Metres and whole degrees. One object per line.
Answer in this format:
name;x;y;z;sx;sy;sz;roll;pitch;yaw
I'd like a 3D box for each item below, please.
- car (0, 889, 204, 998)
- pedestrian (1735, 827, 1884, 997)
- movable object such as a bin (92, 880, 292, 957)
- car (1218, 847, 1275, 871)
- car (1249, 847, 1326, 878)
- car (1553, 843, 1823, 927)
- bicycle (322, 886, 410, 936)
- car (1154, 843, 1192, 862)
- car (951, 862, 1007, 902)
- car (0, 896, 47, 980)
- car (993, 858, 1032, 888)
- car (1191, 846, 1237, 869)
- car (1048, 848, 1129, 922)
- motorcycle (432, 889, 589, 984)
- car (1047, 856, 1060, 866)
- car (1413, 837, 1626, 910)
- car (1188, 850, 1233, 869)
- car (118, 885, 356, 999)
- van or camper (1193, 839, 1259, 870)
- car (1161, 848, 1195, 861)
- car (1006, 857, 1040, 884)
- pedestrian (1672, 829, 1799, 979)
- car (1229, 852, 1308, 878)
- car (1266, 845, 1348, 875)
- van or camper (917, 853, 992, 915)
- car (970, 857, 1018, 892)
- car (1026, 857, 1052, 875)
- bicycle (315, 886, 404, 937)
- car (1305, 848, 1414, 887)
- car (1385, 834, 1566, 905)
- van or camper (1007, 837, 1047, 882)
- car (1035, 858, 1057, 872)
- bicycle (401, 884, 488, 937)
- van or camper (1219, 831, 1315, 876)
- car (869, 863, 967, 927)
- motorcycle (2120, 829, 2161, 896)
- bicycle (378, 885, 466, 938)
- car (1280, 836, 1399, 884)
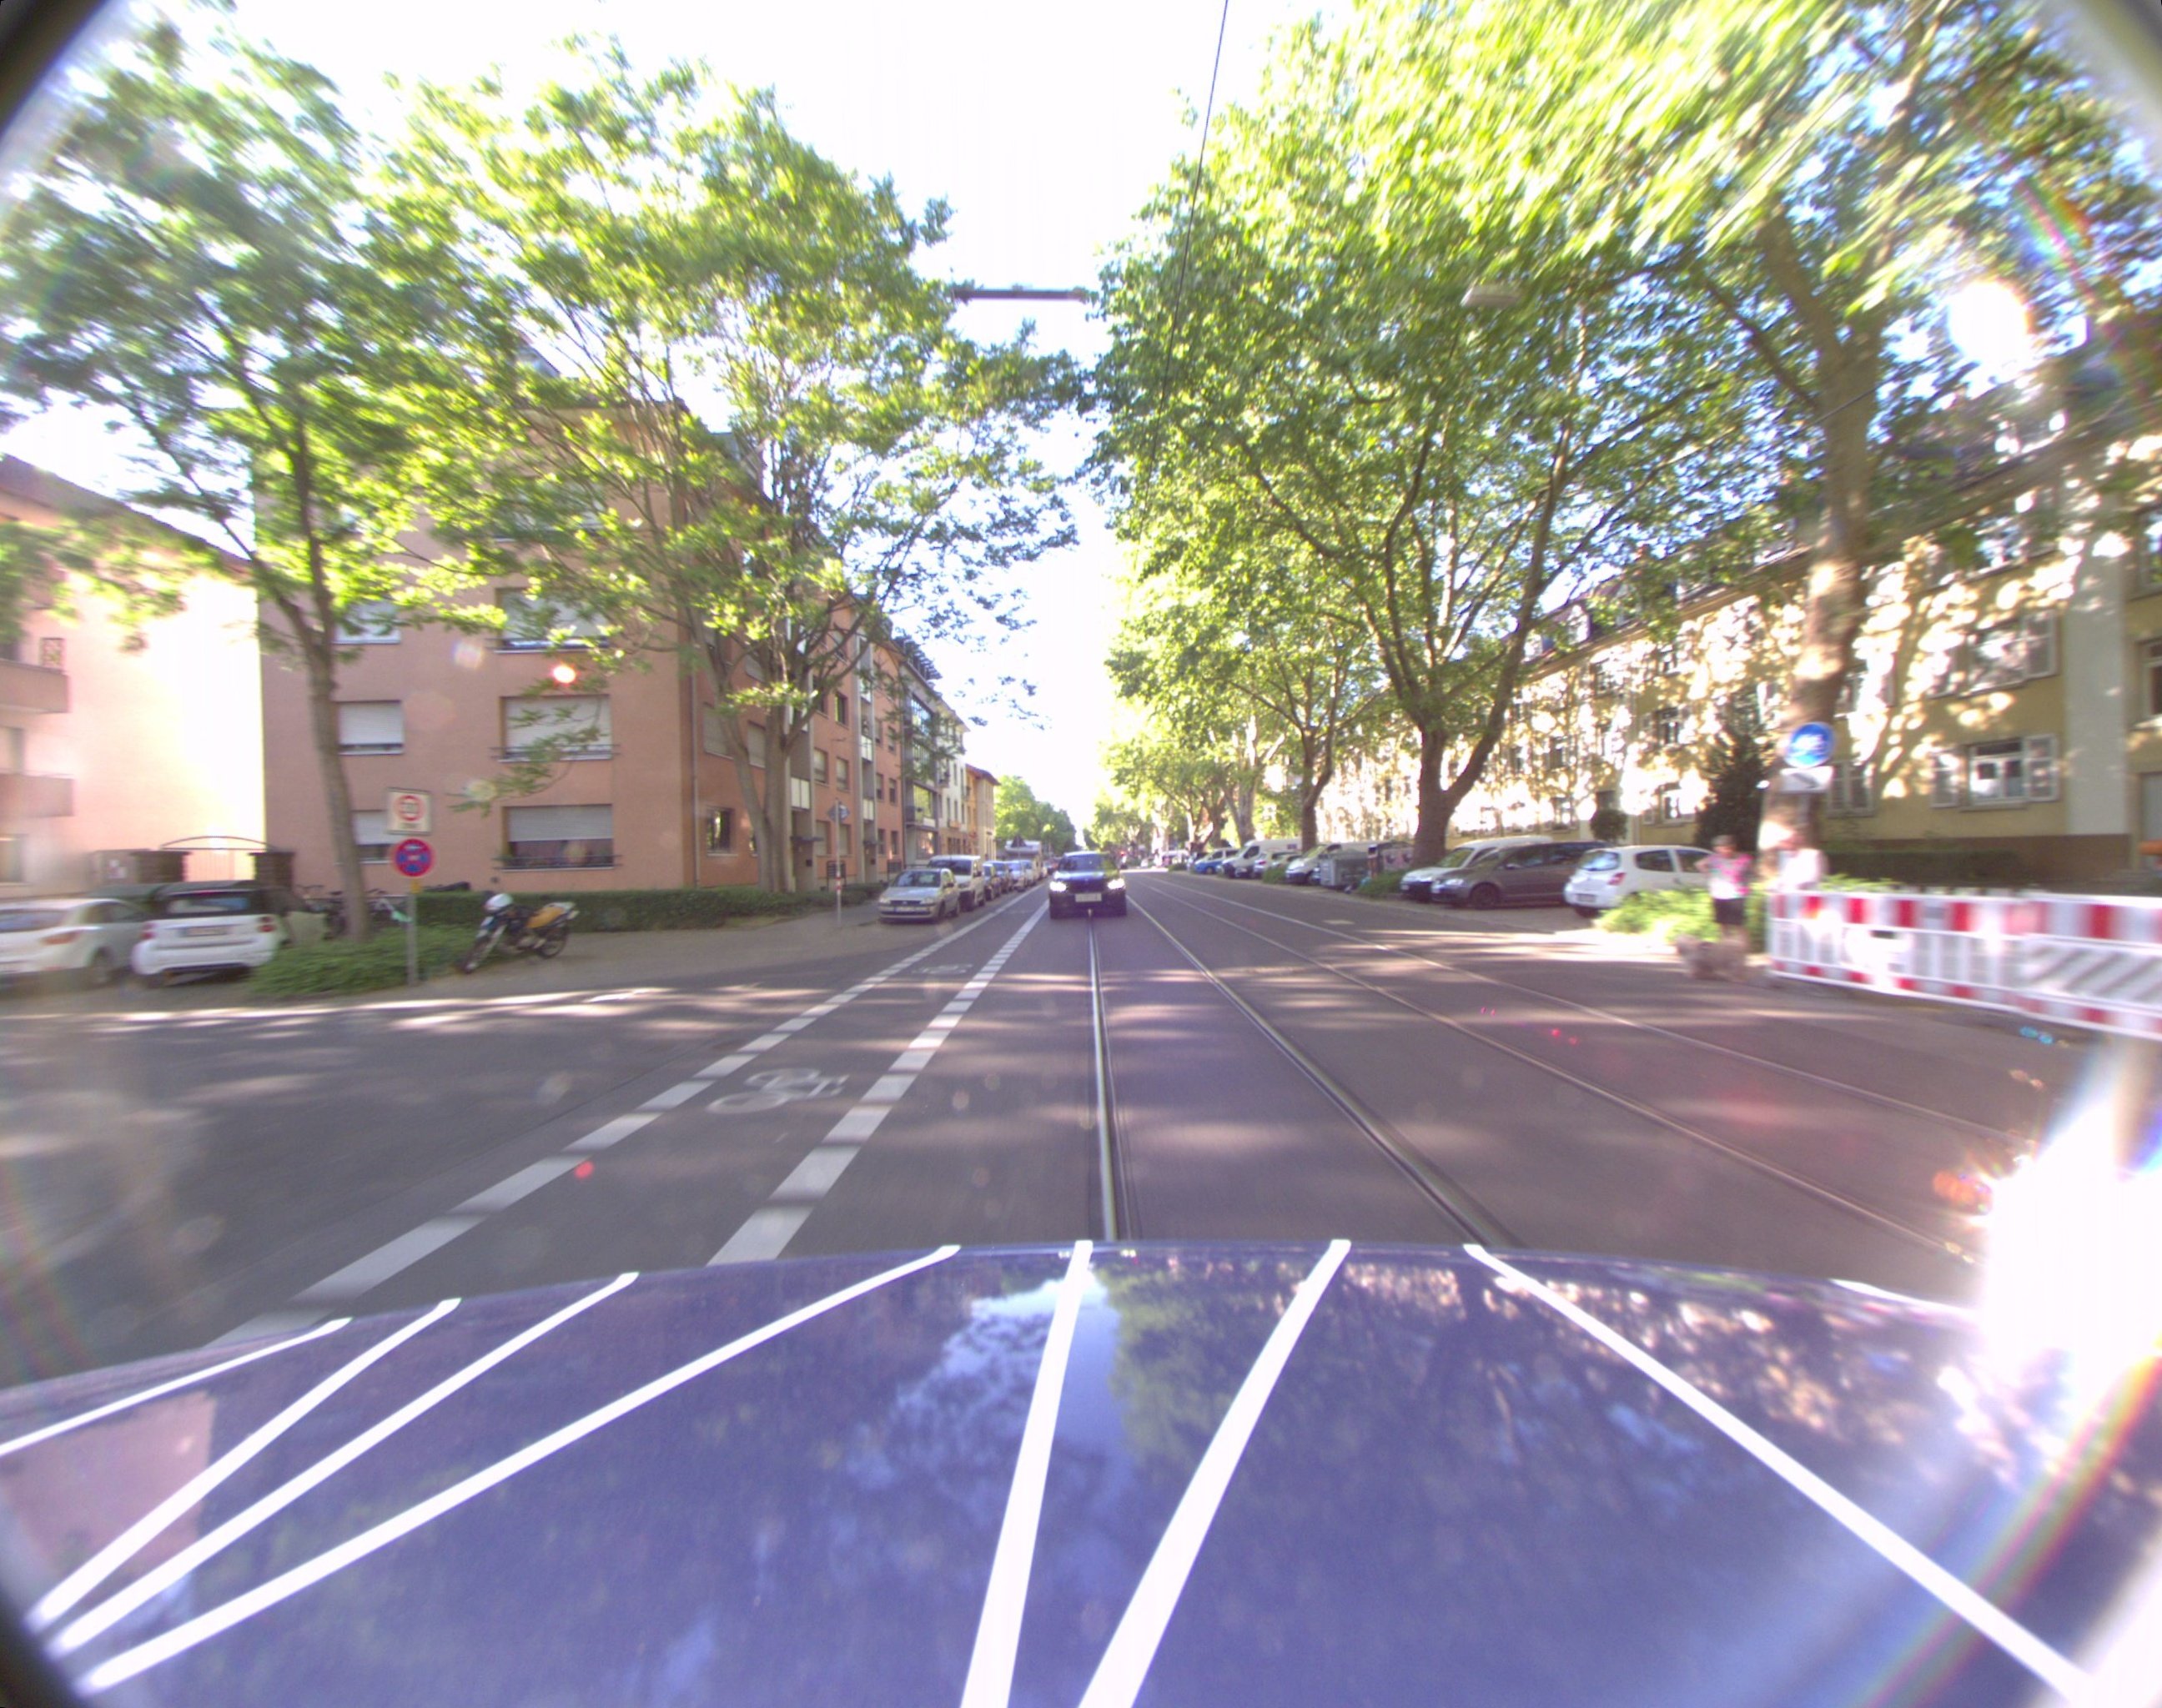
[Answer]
car;-16.906;1.413;12.729;1.730;1.452;3.936;-2;1;-32
pedestrian;7.947;0.600;8.325;0.824;1.735;0.796;-3;1;1
movable object such as a bin;-19.192;1.372;16.483;2.547;1.411;1.377;-2;2;-2
car;11.837;0.368;54.555;3.691;1.556;1.613;-3;1;2
car;11.740;0.469;43.324;3.857;1.653;1.862;-1;0;1
car;11.925;0.579;15.129;3.857;1.489;1.862;-1;0;1
bicycle;-18.383;1.453;19.537;1.774;1.158;0.450;-3;1;1
car;12.882;-0.174;106.437;5.019;2.383;2.028;-3;0;-1
car;-4.193;1.103;31.871;1.710;1.464;4.168;-1;0;0
car;-19.767;1.547;12.607;1.669;1.452;3.936;-2;1;-32
car;-3.733;1.023;41.875;1.793;1.513;4.321;0;0;-1
car;11.706;0.302;67.108;3.691;1.804;1.704;-3;1;0
car;0.209;0.755;21.097;1.924;1.741;4.806;-3;0;0
motorcycle;-9.435;1.316;12.727;0.679;1.290;2.258;-2;1;7
car;-3.739;0.941;103.408;1.607;1.372;3.864;0;0;0
car;10.940;0.474;19.262;4.242;1.678;1.934;-1;0;8
car;11.818;0.489;69.460;3.692;1.615;1.799;-3;0;-4
car;-14.706;1.410;13.547;1.730;1.531;3.990;-2;1;-32
van or camper;11.557;0.046;60.711;4.832;2.177;2.119;-3;1;0
car;12.660;0.122;99.221;4.170;1.506;1.925;-3;0;-1
car;-3.568;0.983;47.523;1.797;1.619;4.276;0;0;0
pedestrian;8.008;0.584;9.338;0.824;1.735;0.796;-3;1;1
car;11.193;0.650;45.520;4.274;1.390;1.753;-1;0;1
car;12.173;0.307;41.055;3.857;1.489;1.862;-1;0;1
van or camper;-4.202;0.926;25.942;1.759;1.853;4.829;-1;0;0
car;-4.174;0.969;37.019;1.772;1.563;4.336;0;0;0
car;-3.656;1.060;67.028;1.998;1.485;4.740;0;0;1
bicycle;-18.387;1.453;19.367;1.774;1.163;0.450;-3;1;1
car;11.615;0.554;31.859;3.857;1.489;1.862;-1;0;1
car;11.126;0.425;21.604;4.210;1.747;1.739;-3;1;-2
van or camper;-3.765;0.350;54.078;2.468;3.046;6.267;0;0;-1
car;-3.507;1.079;76.466;1.998;1.372;4.739;0;0;0
bicycle;-15.406;1.344;18.453;0.513;1.093;1.775;-3;1;1
van or camper;11.677;-0.026;47.992;5.403;2.501;2.444;-3;1;0
car;-4.289;1.031;20.546;1.710;1.464;4.000;-1;0;0
motorcycle;20.972;0.133;14.422;1.714;1.234;0.523;-2;1;2
bicycle;-15.957;1.373;18.457;0.513;1.093;1.775;-3;1;1
car;11.739;0.272;34.688;4.669;1.934;1.961;-3;1;-2
